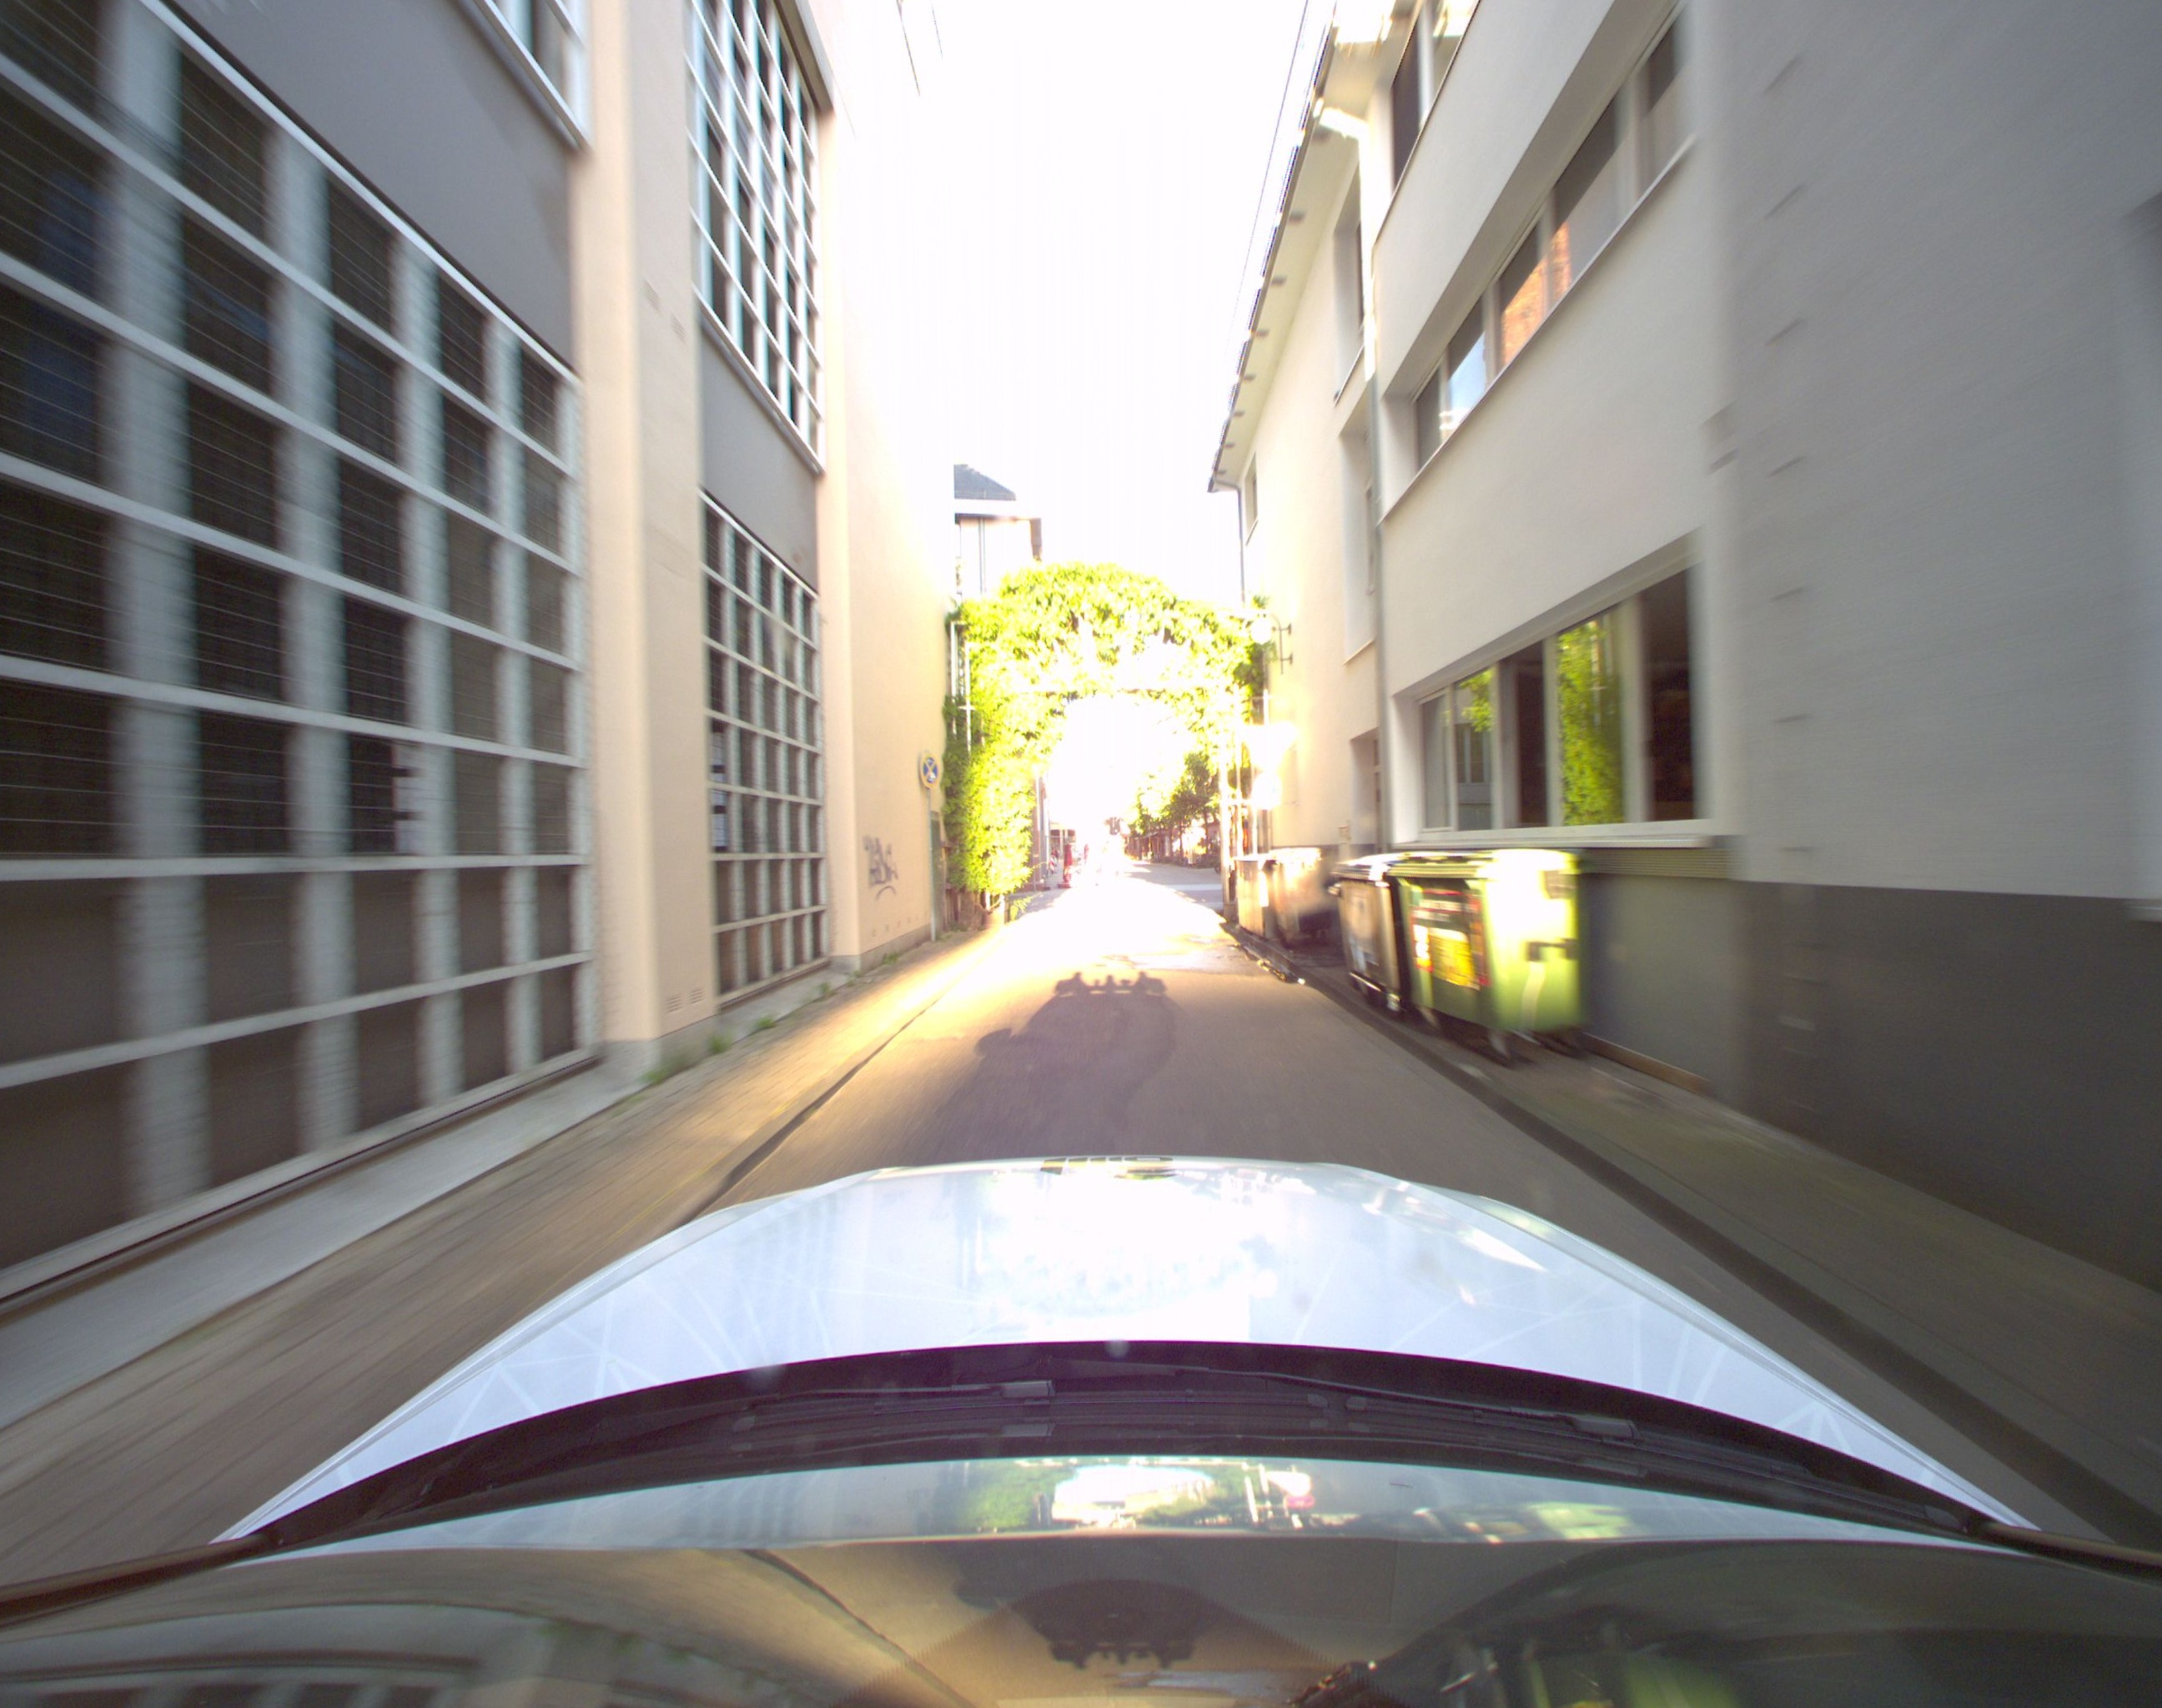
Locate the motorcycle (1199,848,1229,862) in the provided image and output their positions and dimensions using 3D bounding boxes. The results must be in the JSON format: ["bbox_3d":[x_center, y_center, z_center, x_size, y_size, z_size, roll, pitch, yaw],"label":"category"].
[{"bbox_3d":[11.159,0.090,68.249,2.481,1.095,0.586,-2,-1,-22],"label":"motorcycle"}]

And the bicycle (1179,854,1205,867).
[{"bbox_3d":[9.745,0.562,71.262,2.137,1.061,0.593,-3,-1,14],"label":"bicycle"}]

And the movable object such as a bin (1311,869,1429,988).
[{"bbox_3d":[2.891,0.722,8.226,0.866,1.075,0.738,-4,0,0],"label":"movable object such as a bin"}]

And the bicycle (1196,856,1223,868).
[{"bbox_3d":[10.932,0.661,69.165,2.157,0.926,0.587,-2,-1,-15],"label":"bicycle"}]

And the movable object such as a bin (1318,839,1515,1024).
[{"bbox_3d":[2.802,0.596,6.999,1.061,1.366,1.342,-4,0,0],"label":"movable object such as a bin"}]

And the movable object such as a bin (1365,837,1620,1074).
[{"bbox_3d":[2.728,0.608,5.595,0.935,1.366,1.340,-4,0,-4],"label":"movable object such as a bin"}]

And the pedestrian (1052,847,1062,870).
[{"bbox_3d":[-1.837,0.345,62.437,0.651,1.764,0.635,-2,0,5],"label":"pedestrian"}]

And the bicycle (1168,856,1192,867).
[{"bbox_3d":[9.073,0.650,74.604,2.151,0.926,0.589,-2,-1,-7],"label":"bicycle"}]

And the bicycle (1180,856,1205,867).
[{"bbox_3d":[10.040,0.655,73.593,2.151,0.926,0.589,-2,-1,-7],"label":"bicycle"}]

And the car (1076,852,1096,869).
[{"bbox_3d":[0.539,0.683,87.586,1.838,1.684,3.639,-2,0,-4],"label":"car"}]

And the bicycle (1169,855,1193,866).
[{"bbox_3d":[9.275,0.590,75.592,2.151,0.926,0.589,-2,-1,-7],"label":"bicycle"}]

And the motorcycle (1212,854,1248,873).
[{"bbox_3d":[9.493,0.616,51.911,2.147,1.151,0.493,-2,-1,-3],"label":"motorcycle"}]

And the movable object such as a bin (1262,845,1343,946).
[{"bbox_3d":[3.132,0.555,11.646,0.832,1.305,1.292,-4,0,5],"label":"movable object such as a bin"}]
